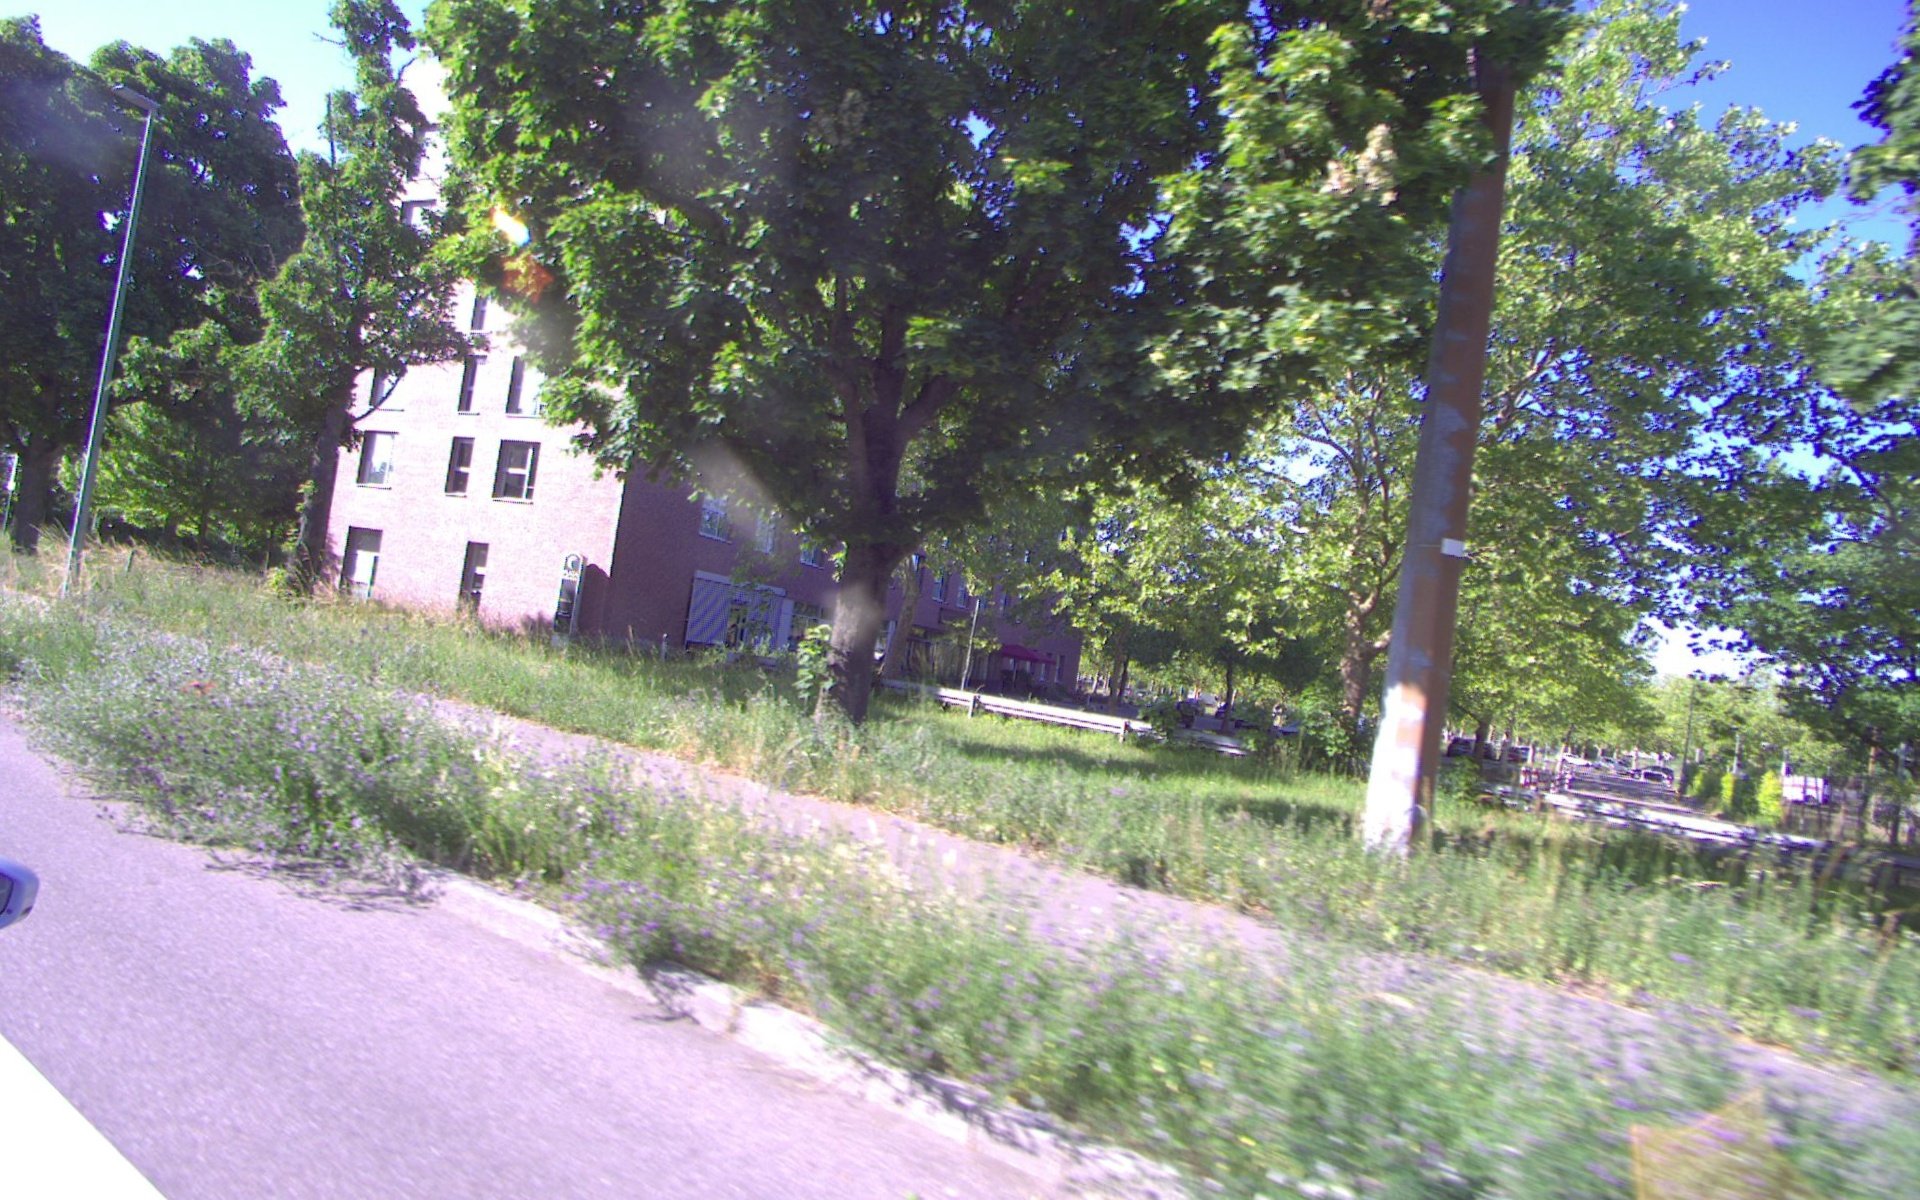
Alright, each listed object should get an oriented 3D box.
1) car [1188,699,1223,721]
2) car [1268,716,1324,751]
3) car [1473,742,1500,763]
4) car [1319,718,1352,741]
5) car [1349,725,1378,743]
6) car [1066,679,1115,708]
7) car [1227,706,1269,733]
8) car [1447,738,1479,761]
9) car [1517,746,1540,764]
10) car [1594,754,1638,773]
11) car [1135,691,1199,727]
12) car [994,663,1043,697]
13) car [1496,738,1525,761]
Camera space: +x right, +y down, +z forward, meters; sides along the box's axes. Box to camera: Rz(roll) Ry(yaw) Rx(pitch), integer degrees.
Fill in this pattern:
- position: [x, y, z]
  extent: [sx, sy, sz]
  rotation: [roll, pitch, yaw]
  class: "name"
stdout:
- position: [21.858, 9.810, 89.561]
  extent: [1.801, 1.477, 4.232]
  rotation: [7, -4, 30]
  class: "car"
- position: [17.508, 6.963, 52.321]
  extent: [1.801, 1.413, 4.526]
  rotation: [7, -4, 30]
  class: "car"
- position: [46.001, 13.316, 87.915]
  extent: [1.801, 1.477, 4.232]
  rotation: [7, -4, 30]
  class: "car"
- position: [31.145, 10.749, 83.380]
  extent: [1.801, 1.477, 4.232]
  rotation: [7, -4, 30]
  class: "car"
- position: [37.618, 12.510, 93.727]
  extent: [1.801, 1.304, 4.232]
  rotation: [7, -4, 30]
  class: "car"
- position: [8.691, 6.221, 66.779]
  extent: [1.841, 1.507, 4.001]
  rotation: [7, -4, 28]
  class: "car"
- position: [20.180, 8.388, 70.389]
  extent: [1.801, 1.477, 4.232]
  rotation: [7, -4, 30]
  class: "car"
- position: [39.409, 11.714, 78.746]
  extent: [1.708, 1.507, 3.997]
  rotation: [6, -4, 33]
  class: "car"
- position: [56.767, 15.515, 100.445]
  extent: [1.801, 1.477, 4.232]
  rotation: [7, -4, 30]
  class: "car"
- position: [77.589, 19.372, 119.083]
  extent: [4.160, 1.478, 1.832]
  rotation: [6, -4, 31]
  class: "car"
- position: [11.657, 6.126, 56.507]
  extent: [1.846, 1.507, 3.991]
  rotation: [6, -4, 38]
  class: "car"
- position: [3.977, 5.404, 67.769]
  extent: [1.839, 1.848, 4.004]
  rotation: [7, -4, 24]
  class: "car"
- position: [50.415, 13.715, 92.102]
  extent: [1.803, 1.691, 4.226]
  rotation: [6, -5, 35]
  class: "car"
